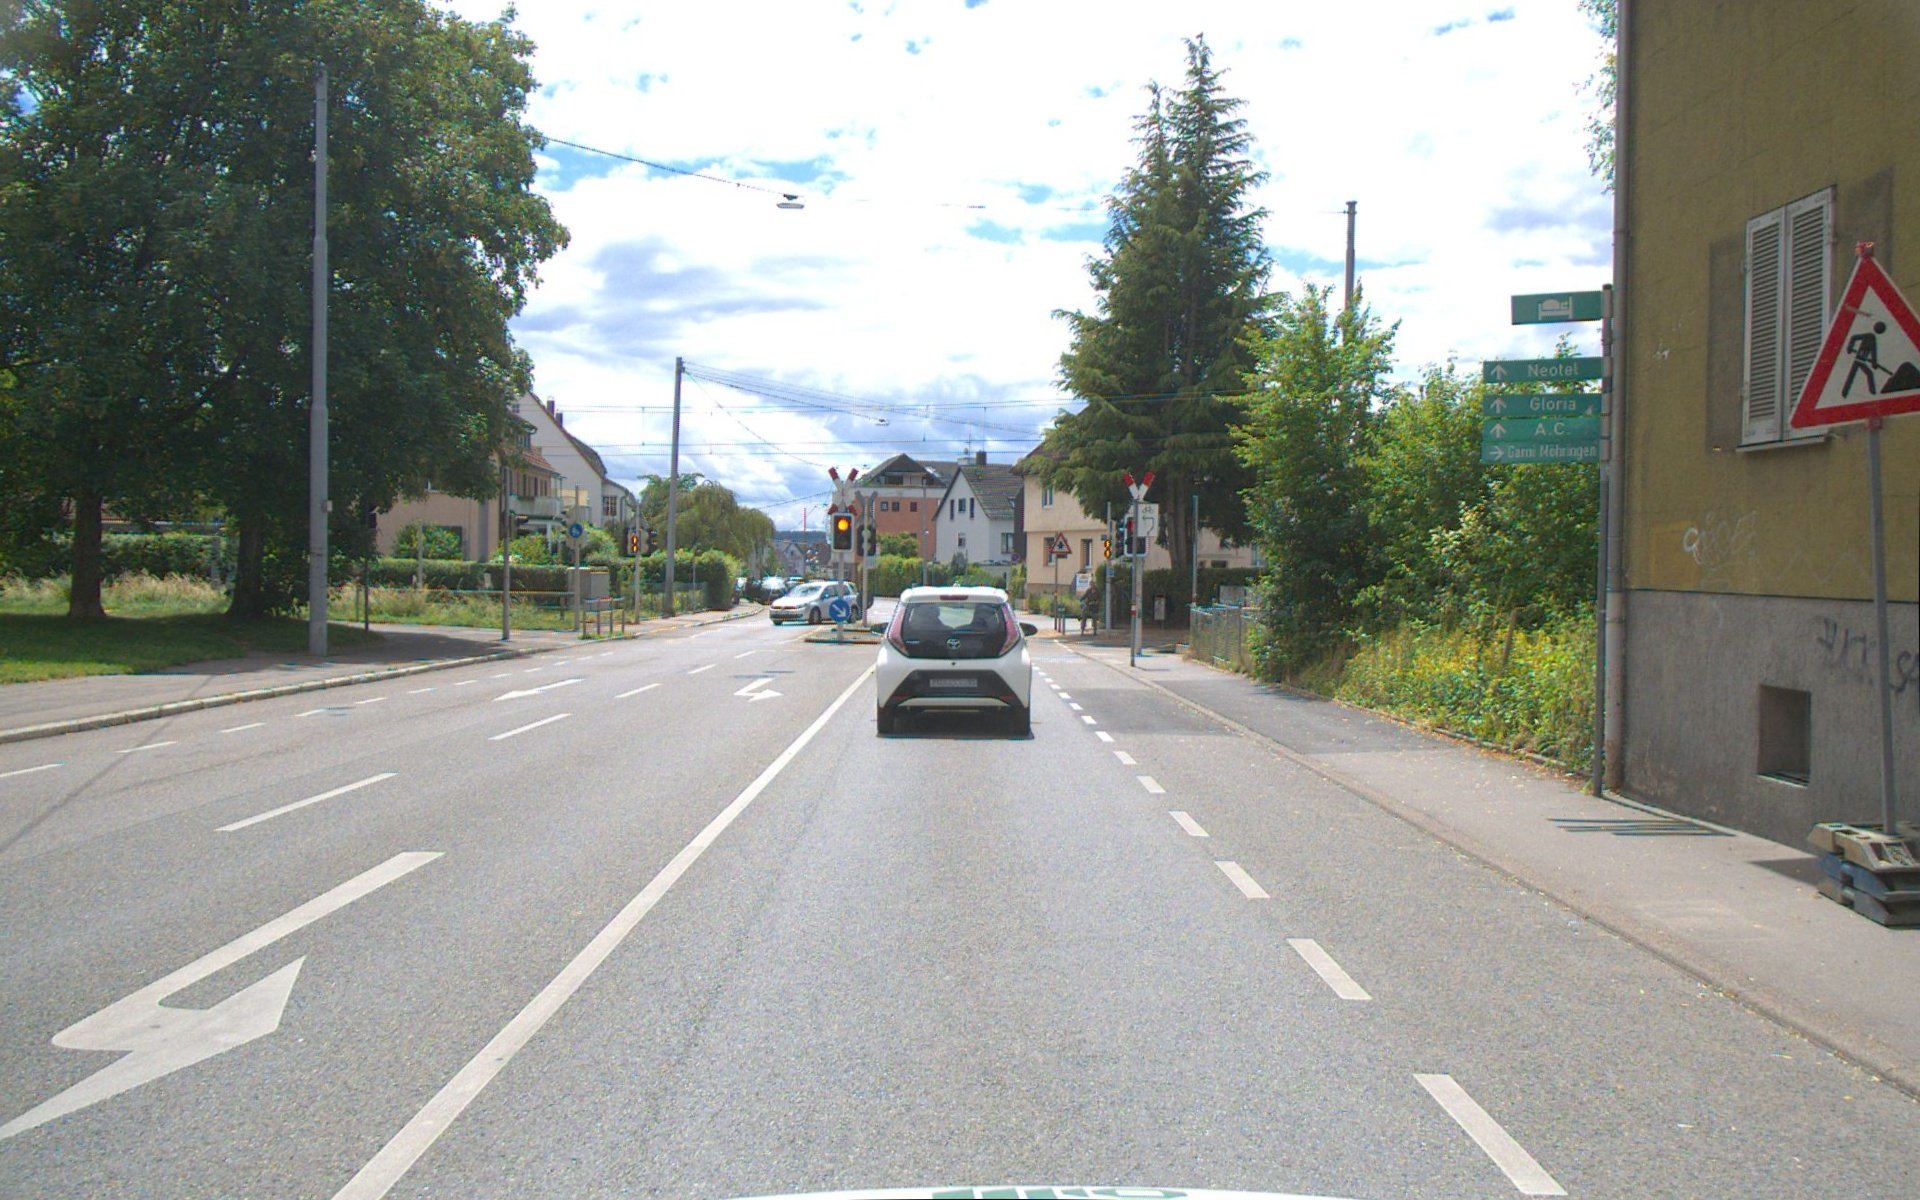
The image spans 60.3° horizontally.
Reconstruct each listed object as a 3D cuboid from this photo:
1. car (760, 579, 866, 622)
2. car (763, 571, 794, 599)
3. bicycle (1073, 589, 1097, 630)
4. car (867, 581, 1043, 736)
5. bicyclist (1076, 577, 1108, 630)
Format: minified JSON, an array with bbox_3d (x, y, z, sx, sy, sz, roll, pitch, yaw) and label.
[{"bbox_3d":[-5.270,0.026,59.806,1.868,1.466,4.093,2,0,28],"label":"car"},{"bbox_3d":[-12.144,-1.014,110.686,1.955,1.749,3.995,1,0,-6],"label":"car"},{"bbox_3d":[3.892,0.294,51.607,0.448,1.192,1.478,-2,3,-6],"label":"bicycle"},{"bbox_3d":[-0.098,0.559,18.029,1.686,1.467,3.707,2,0,-2],"label":"car"},{"bbox_3d":[4.096,0.100,51.499,0.824,1.580,0.755,-2,3,-6],"label":"bicyclist"}]
